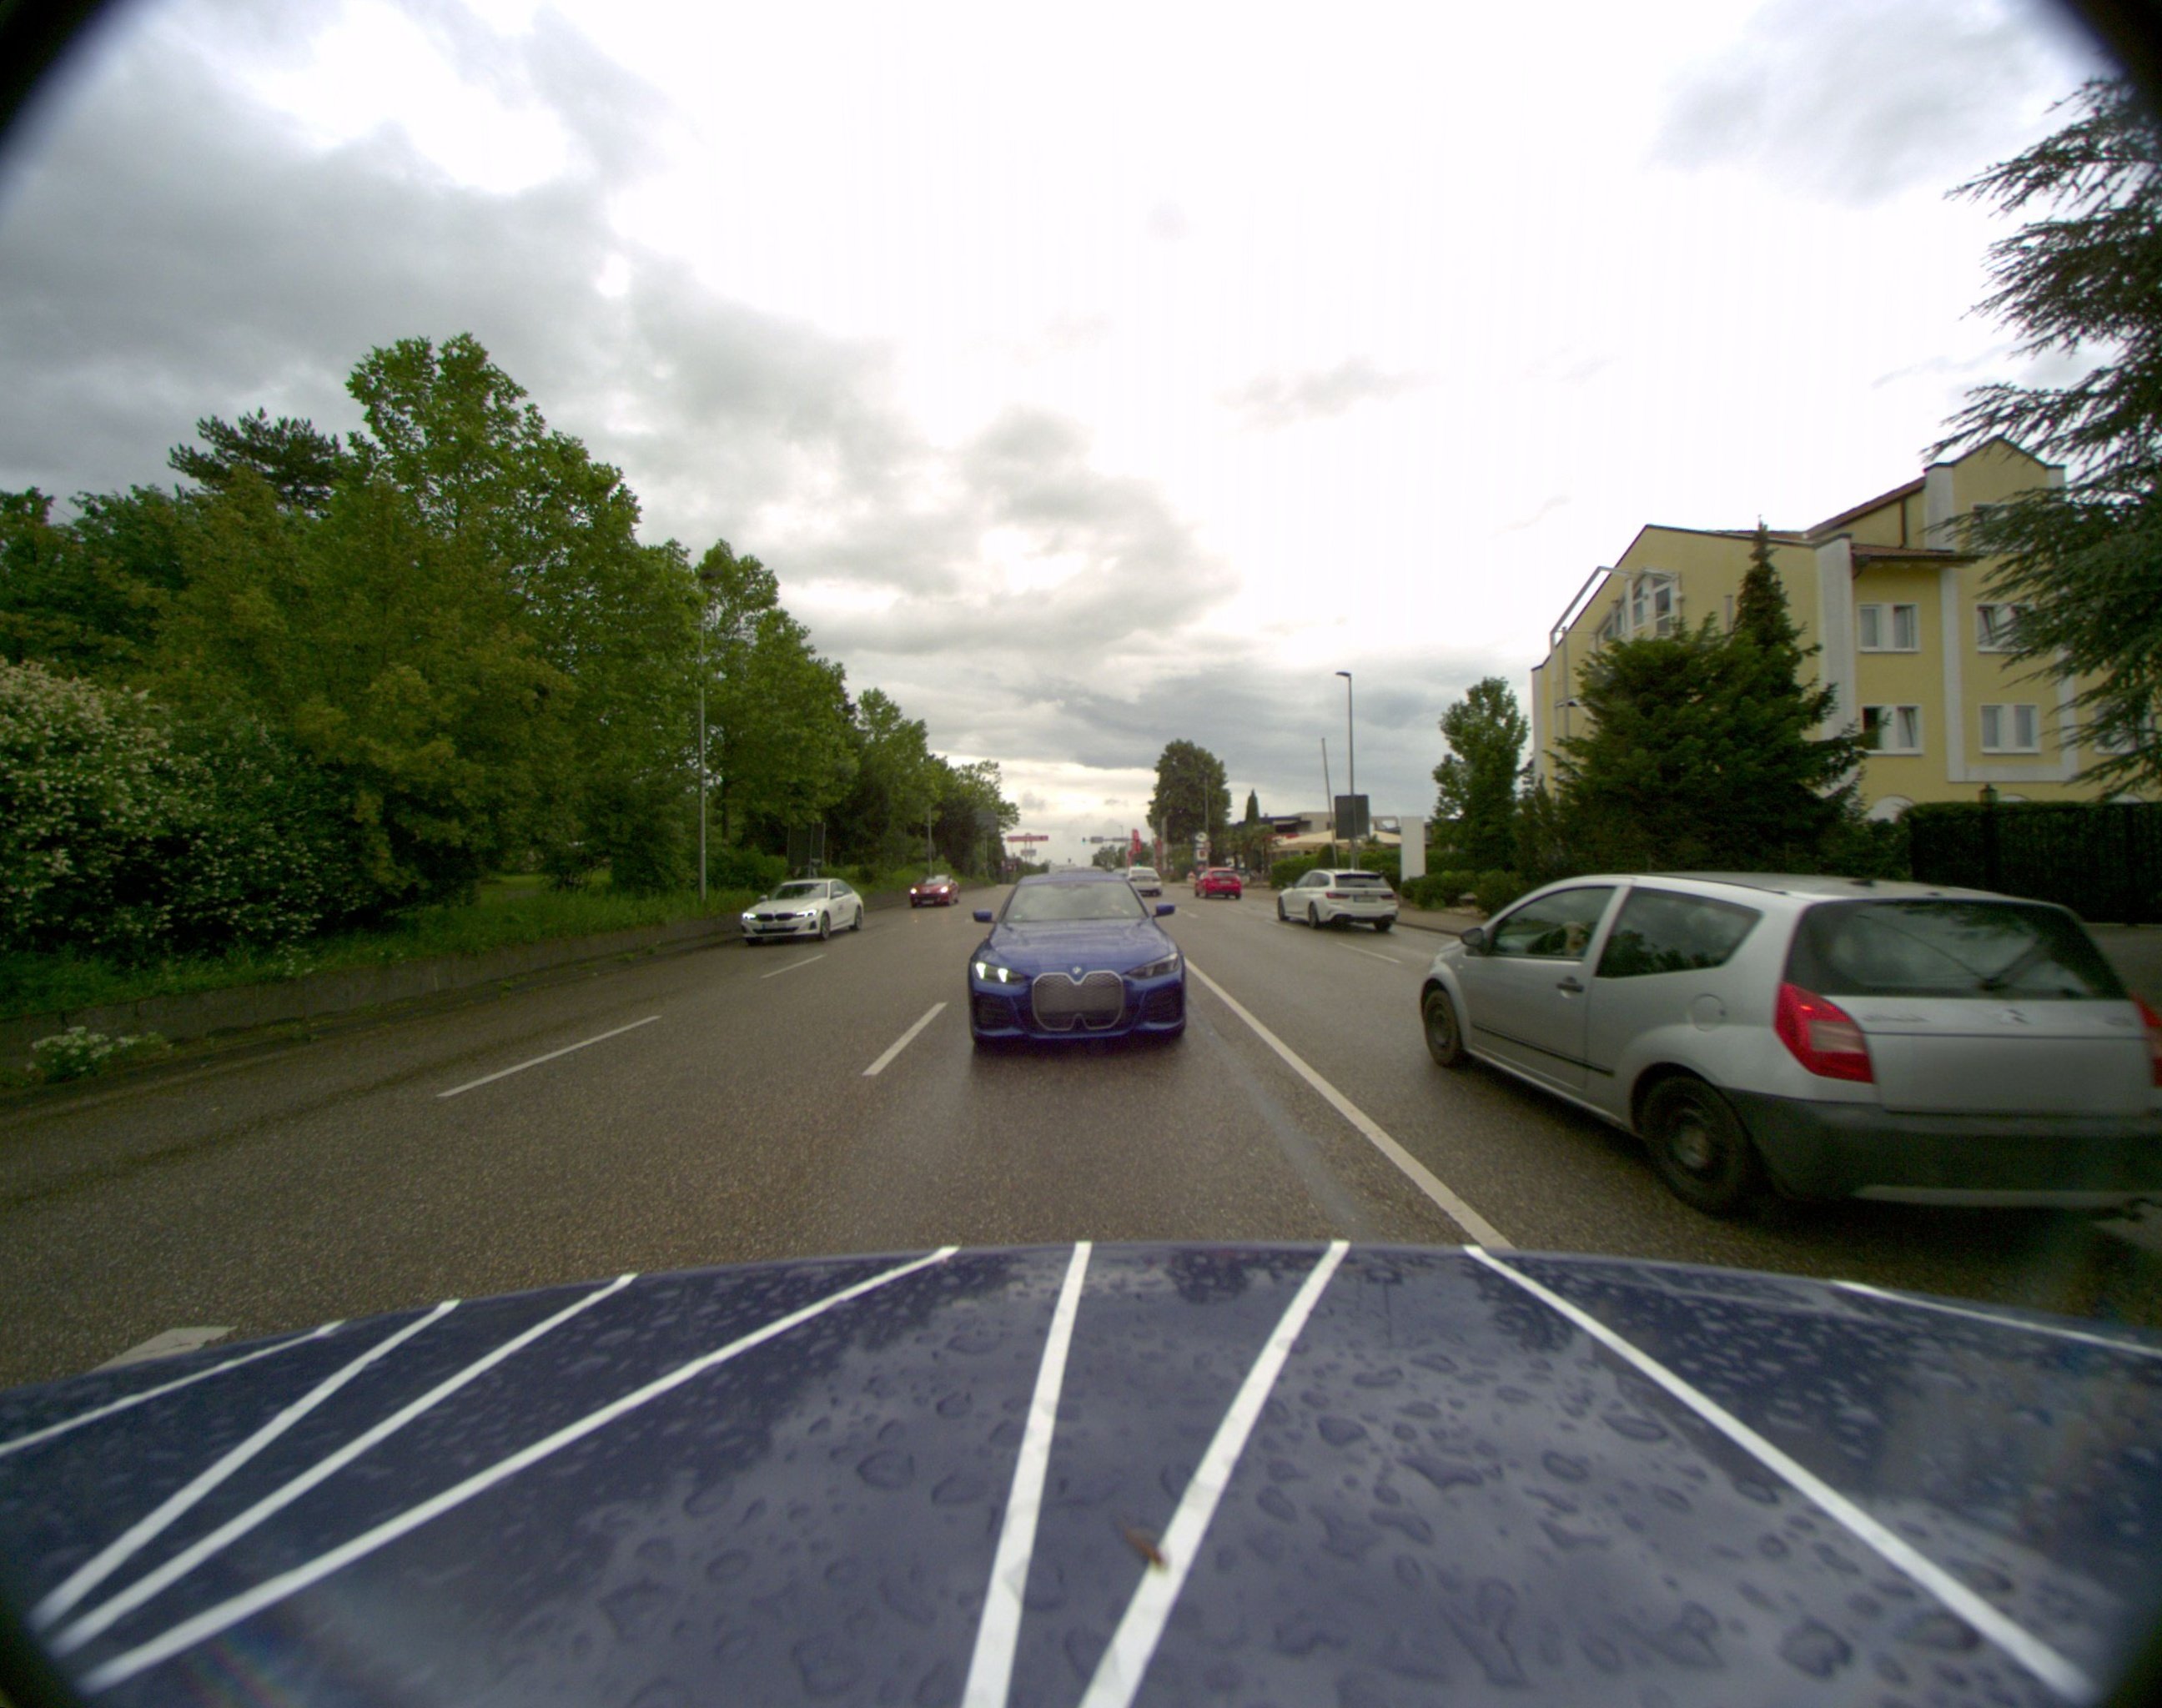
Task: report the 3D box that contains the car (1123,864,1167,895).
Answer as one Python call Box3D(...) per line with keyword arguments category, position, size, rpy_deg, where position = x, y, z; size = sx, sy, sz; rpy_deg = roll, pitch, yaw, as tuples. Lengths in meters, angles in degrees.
Box3D(category="car", position=(3.182, 1.259, 38.531), size=(1.820, 1.373, 4.272), rpy_deg=(-2, 0, 0))

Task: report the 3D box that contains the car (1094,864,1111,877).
Box3D(category="car", position=(2.406, 1.861, 85.656), size=(1.764, 1.418, 3.780), rpy_deg=(-1, 0, -1))

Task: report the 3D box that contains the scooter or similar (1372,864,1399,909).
Box3D(category="scooter or similar", position=(10.076, 1.054, 25.179), size=(0.505, 1.397, 1.882), rpy_deg=(0, 0, 11))

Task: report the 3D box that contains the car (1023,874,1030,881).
Box3D(category="car", position=(-13.982, 6.066, 195.221), size=(1.812, 1.718, 3.998), rpy_deg=(-3, 1, -3))

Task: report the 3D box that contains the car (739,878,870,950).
Box3D(category="car", position=(-6.772, 1.408, 19.127), size=(1.669, 1.418, 4.304), rpy_deg=(-2, 0, 0))

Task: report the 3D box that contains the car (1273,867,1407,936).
Box3D(category="car", position=(6.318, 1.091, 19.094), size=(1.790, 1.451, 4.431), rpy_deg=(0, 0, -1))

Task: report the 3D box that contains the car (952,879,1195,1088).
Box3D(category="car", position=(-0.054, 1.047, 7.845), size=(1.803, 1.399, 4.272), rpy_deg=(-1, 0, 0))

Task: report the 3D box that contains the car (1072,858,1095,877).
Box3D(category="car", position=(0.205, 1.094, 64.022), size=(1.807, 1.543, 4.000), rpy_deg=(-1, 0, 0))

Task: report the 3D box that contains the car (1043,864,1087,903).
Box3D(category="car", position=(-0.666, 1.253, 33.946), size=(1.807, 1.543, 4.000), rpy_deg=(-1, 0, 0))

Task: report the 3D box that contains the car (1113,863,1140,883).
Box3D(category="car", position=(3.325, 1.378, 56.065), size=(1.699, 1.345, 3.780), rpy_deg=(1, 0, 0))

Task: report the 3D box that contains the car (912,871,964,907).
Box3D(category="car", position=(-6.367, 1.530, 34.196), size=(1.629, 1.395, 3.689), rpy_deg=(-2, 0, -1))

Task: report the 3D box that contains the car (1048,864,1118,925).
Box3D(category="car", position=(0.077, 1.090, 21.862), size=(1.807, 1.543, 4.223), rpy_deg=(-1, -1, 0))

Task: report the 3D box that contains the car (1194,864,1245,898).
Box3D(category="car", position=(6.505, 1.244, 36.029), size=(1.699, 1.467, 3.780), rpy_deg=(-1, 0, 0))

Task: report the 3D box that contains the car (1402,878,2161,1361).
Box3D(category="car", position=(3.350, 0.925, 4.232), size=(1.643, 1.451, 3.518), rpy_deg=(1, 0, 0))
